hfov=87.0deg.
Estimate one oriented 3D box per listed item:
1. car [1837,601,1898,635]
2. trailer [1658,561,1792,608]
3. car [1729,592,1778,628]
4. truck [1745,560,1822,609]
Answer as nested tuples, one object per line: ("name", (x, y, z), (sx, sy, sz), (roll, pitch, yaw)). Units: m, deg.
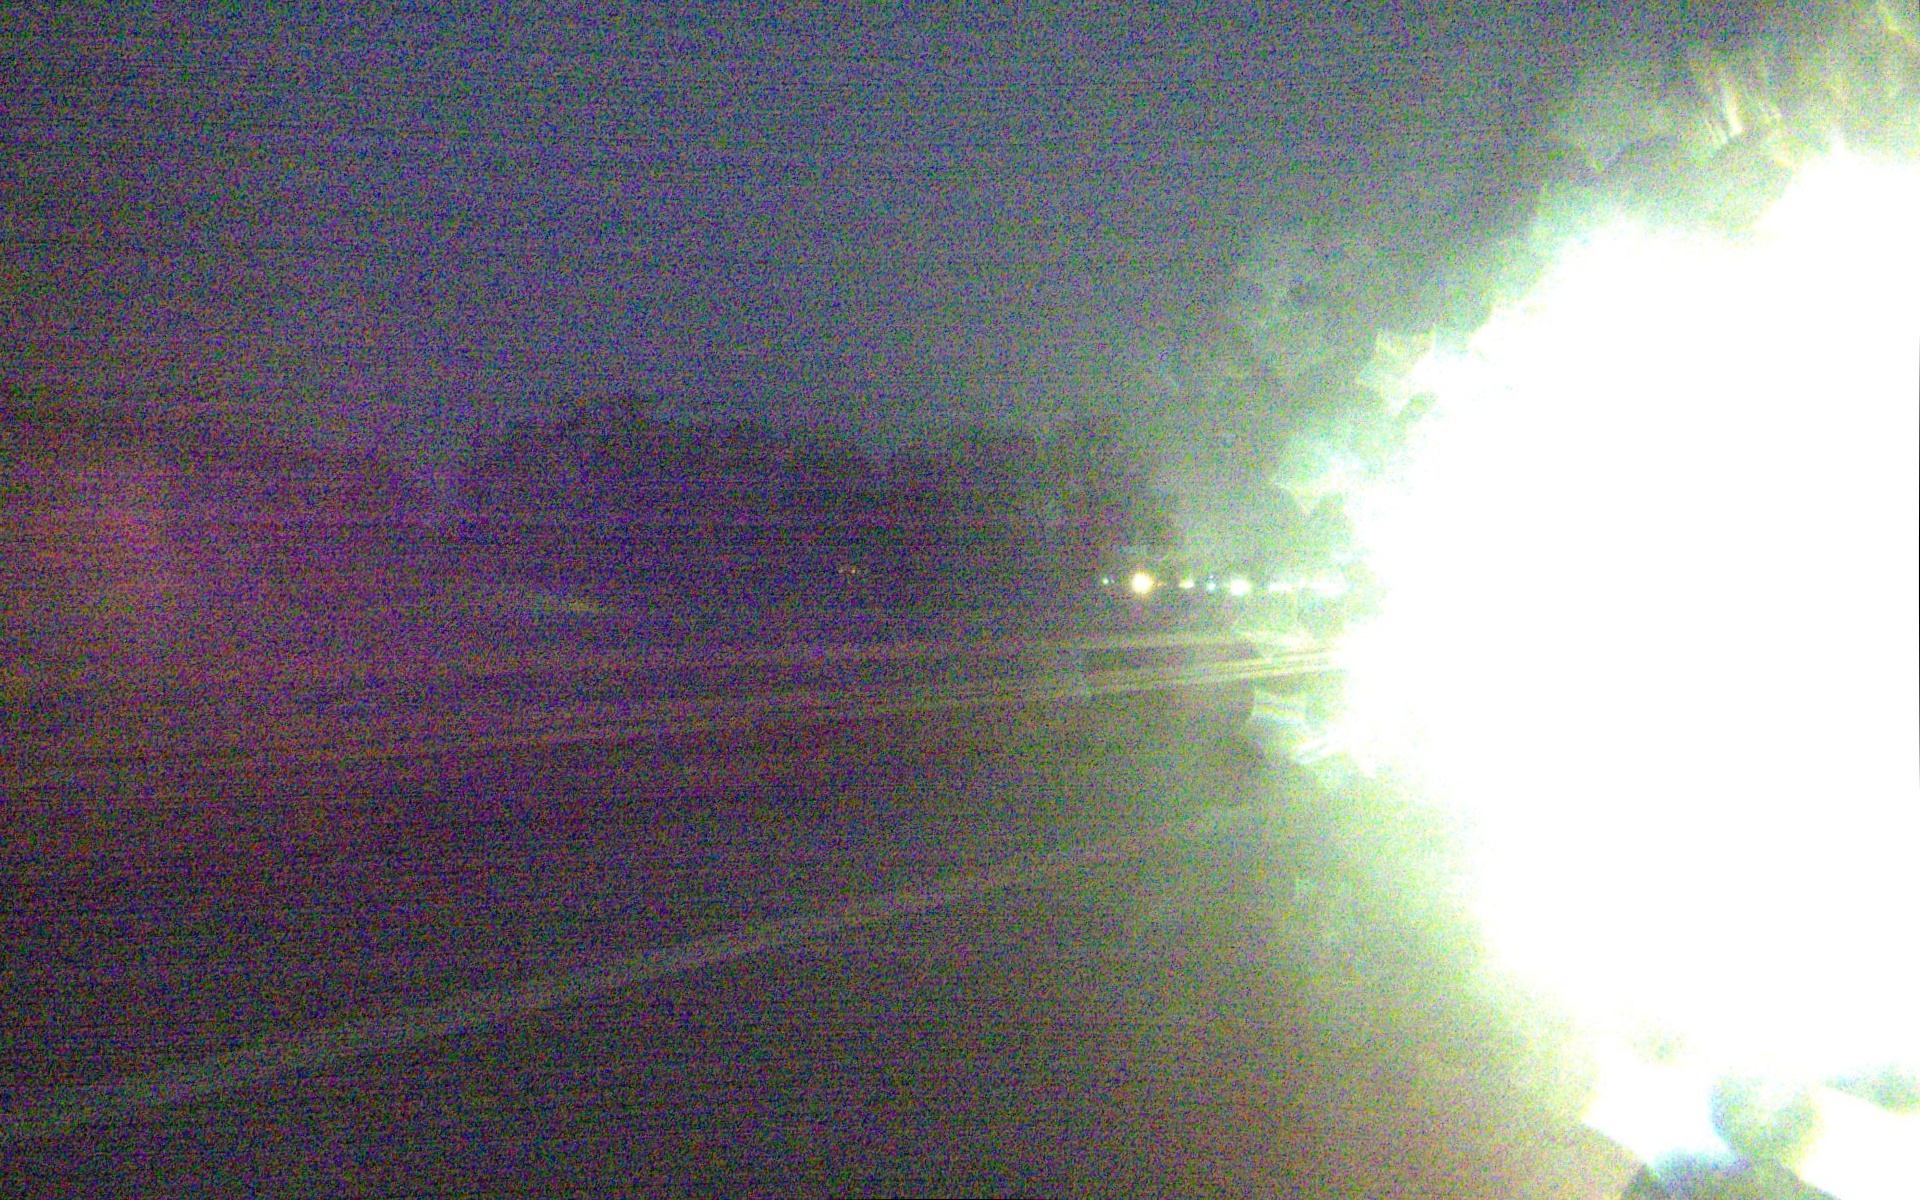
("car", (38.892, 0.741, 43.435), (1.753, 1.328, 4.027), (0, 0, 40))
("trailer", (76.671, -1.583, 102.015), (2.490, 4.391, 13.720), (-1, 1, -3))
("car", (39.520, 0.445, 50.375), (1.734, 1.705, 4.060), (0, 0, 41))
("truck", (77.064, -1.460, 94.864), (2.490, 4.391, 5.568), (-1, 1, -3))
